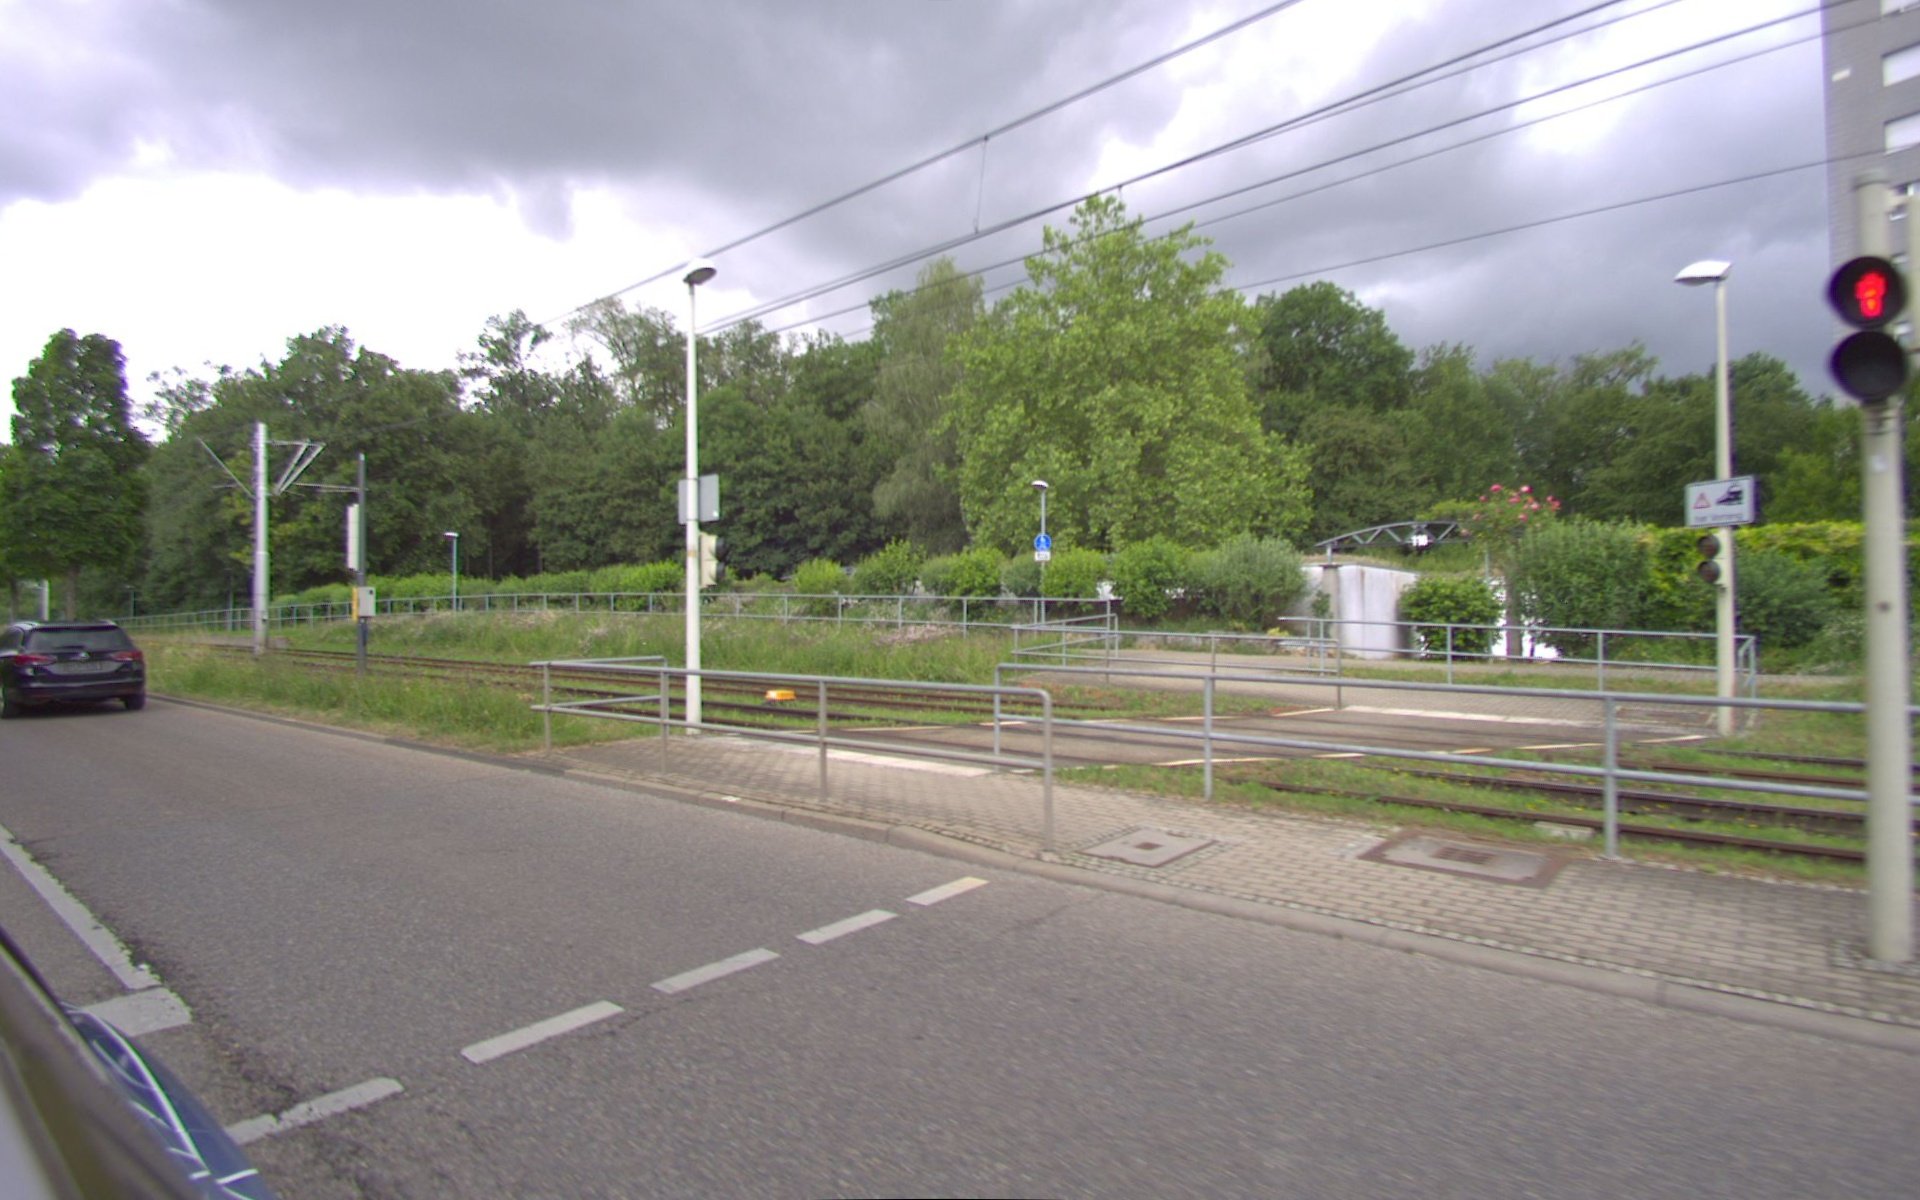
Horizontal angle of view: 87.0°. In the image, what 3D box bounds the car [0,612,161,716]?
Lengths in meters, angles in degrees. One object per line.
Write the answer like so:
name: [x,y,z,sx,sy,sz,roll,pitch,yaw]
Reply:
car: [-14.776,0.994,16.622,4.253,1.481,1.831,-2,-2,41]
